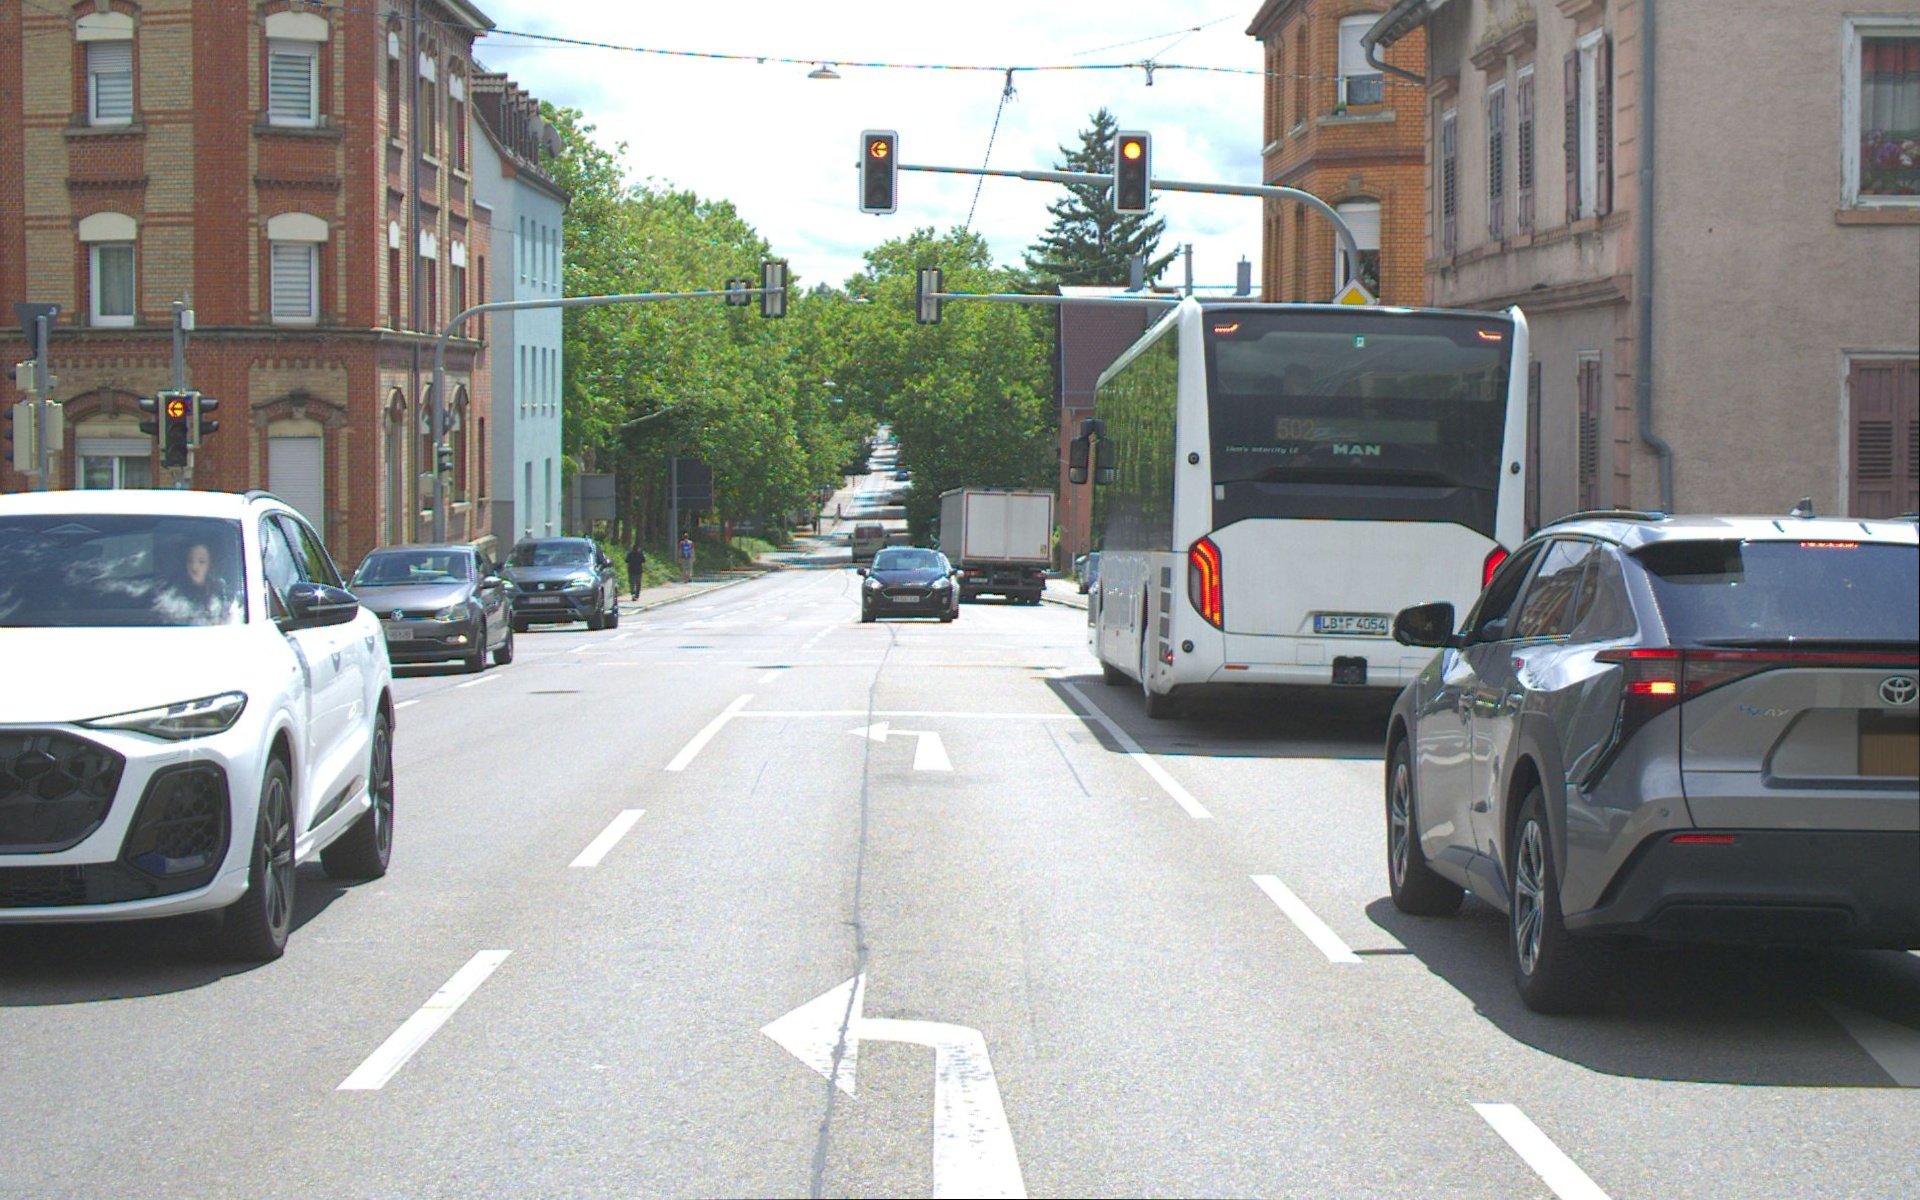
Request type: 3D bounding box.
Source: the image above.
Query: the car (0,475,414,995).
[{"bbox_3d":[-3.294,0.369,13.091,1.864,1.650,4.379,0,2,-2],"label":"car"}]

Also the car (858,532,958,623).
[{"bbox_3d":[-1.009,-0.455,65.876,1.864,1.660,4.260,0,2,-1],"label":"car"}]

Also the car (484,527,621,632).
[{"bbox_3d":[-6.785,-0.373,57.559,1.864,1.660,4.260,0,2,-1],"label":"car"}]

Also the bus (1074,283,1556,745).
[{"bbox_3d":[2.714,-0.723,30.438,2.802,3.187,12.196,2,1,-1],"label":"bus"}]

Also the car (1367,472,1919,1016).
[{"bbox_3d":[2.683,0.377,12.091,1.930,1.577,4.208,0,1,-1],"label":"car"}]

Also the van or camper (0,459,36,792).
[{"bbox_3d":[-6.447,0.187,17.950,1.970,1.908,5.129,0,2,-1],"label":"van or camper"}]

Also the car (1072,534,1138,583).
[{"bbox_3d":[4.868,-1.411,115.883,1.930,1.577,4.208,-1,1,-1],"label":"car"}]

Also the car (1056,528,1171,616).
[{"bbox_3d":[2.923,-0.571,66.143,1.930,1.577,4.208,-1,1,-1],"label":"car"}]

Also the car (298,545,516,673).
[{"bbox_3d":[-6.186,0.061,38.890,1.864,1.315,4.260,0,2,-1],"label":"car"}]

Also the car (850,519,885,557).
[{"bbox_3d":[-4.939,-3.325,182.909,1.832,1.875,4.001,-1,3,-2],"label":"car"}]

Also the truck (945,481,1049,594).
[{"bbox_3d":[1.006,-1.864,100.095,2.666,3.097,9.036,-1,1,-1],"label":"truck"}]
